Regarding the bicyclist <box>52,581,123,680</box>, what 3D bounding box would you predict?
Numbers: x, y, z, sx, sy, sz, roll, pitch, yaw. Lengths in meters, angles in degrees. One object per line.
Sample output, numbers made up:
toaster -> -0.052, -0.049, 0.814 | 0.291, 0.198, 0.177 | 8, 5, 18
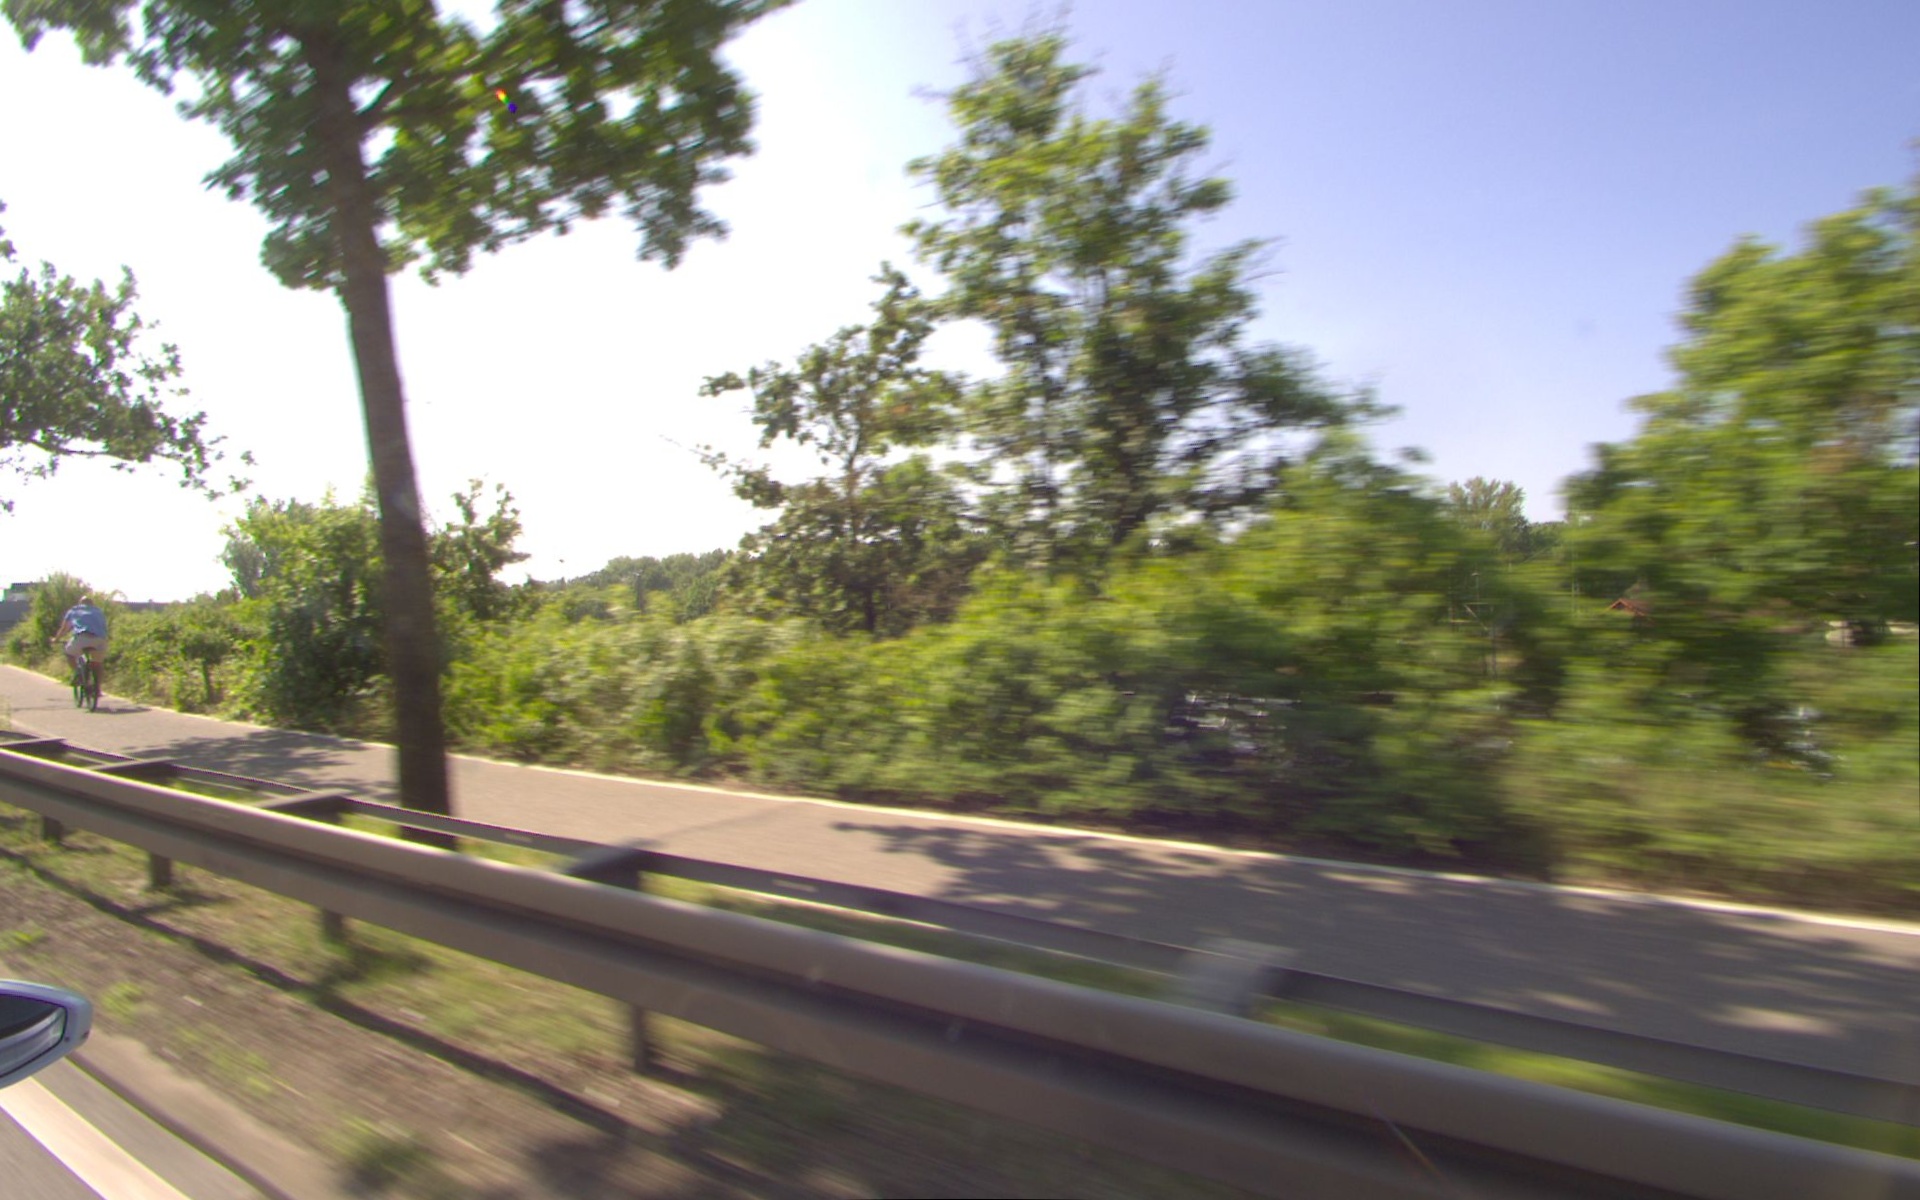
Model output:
bicyclist -> -14.159, 0.490, 16.248 | 0.793, 1.540, 0.655 | -2, 2, 39

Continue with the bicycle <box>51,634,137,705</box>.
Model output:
bicycle -> -14.019, 1.113, 16.190 | 1.824, 1.033, 0.699 | -2, 2, 39
